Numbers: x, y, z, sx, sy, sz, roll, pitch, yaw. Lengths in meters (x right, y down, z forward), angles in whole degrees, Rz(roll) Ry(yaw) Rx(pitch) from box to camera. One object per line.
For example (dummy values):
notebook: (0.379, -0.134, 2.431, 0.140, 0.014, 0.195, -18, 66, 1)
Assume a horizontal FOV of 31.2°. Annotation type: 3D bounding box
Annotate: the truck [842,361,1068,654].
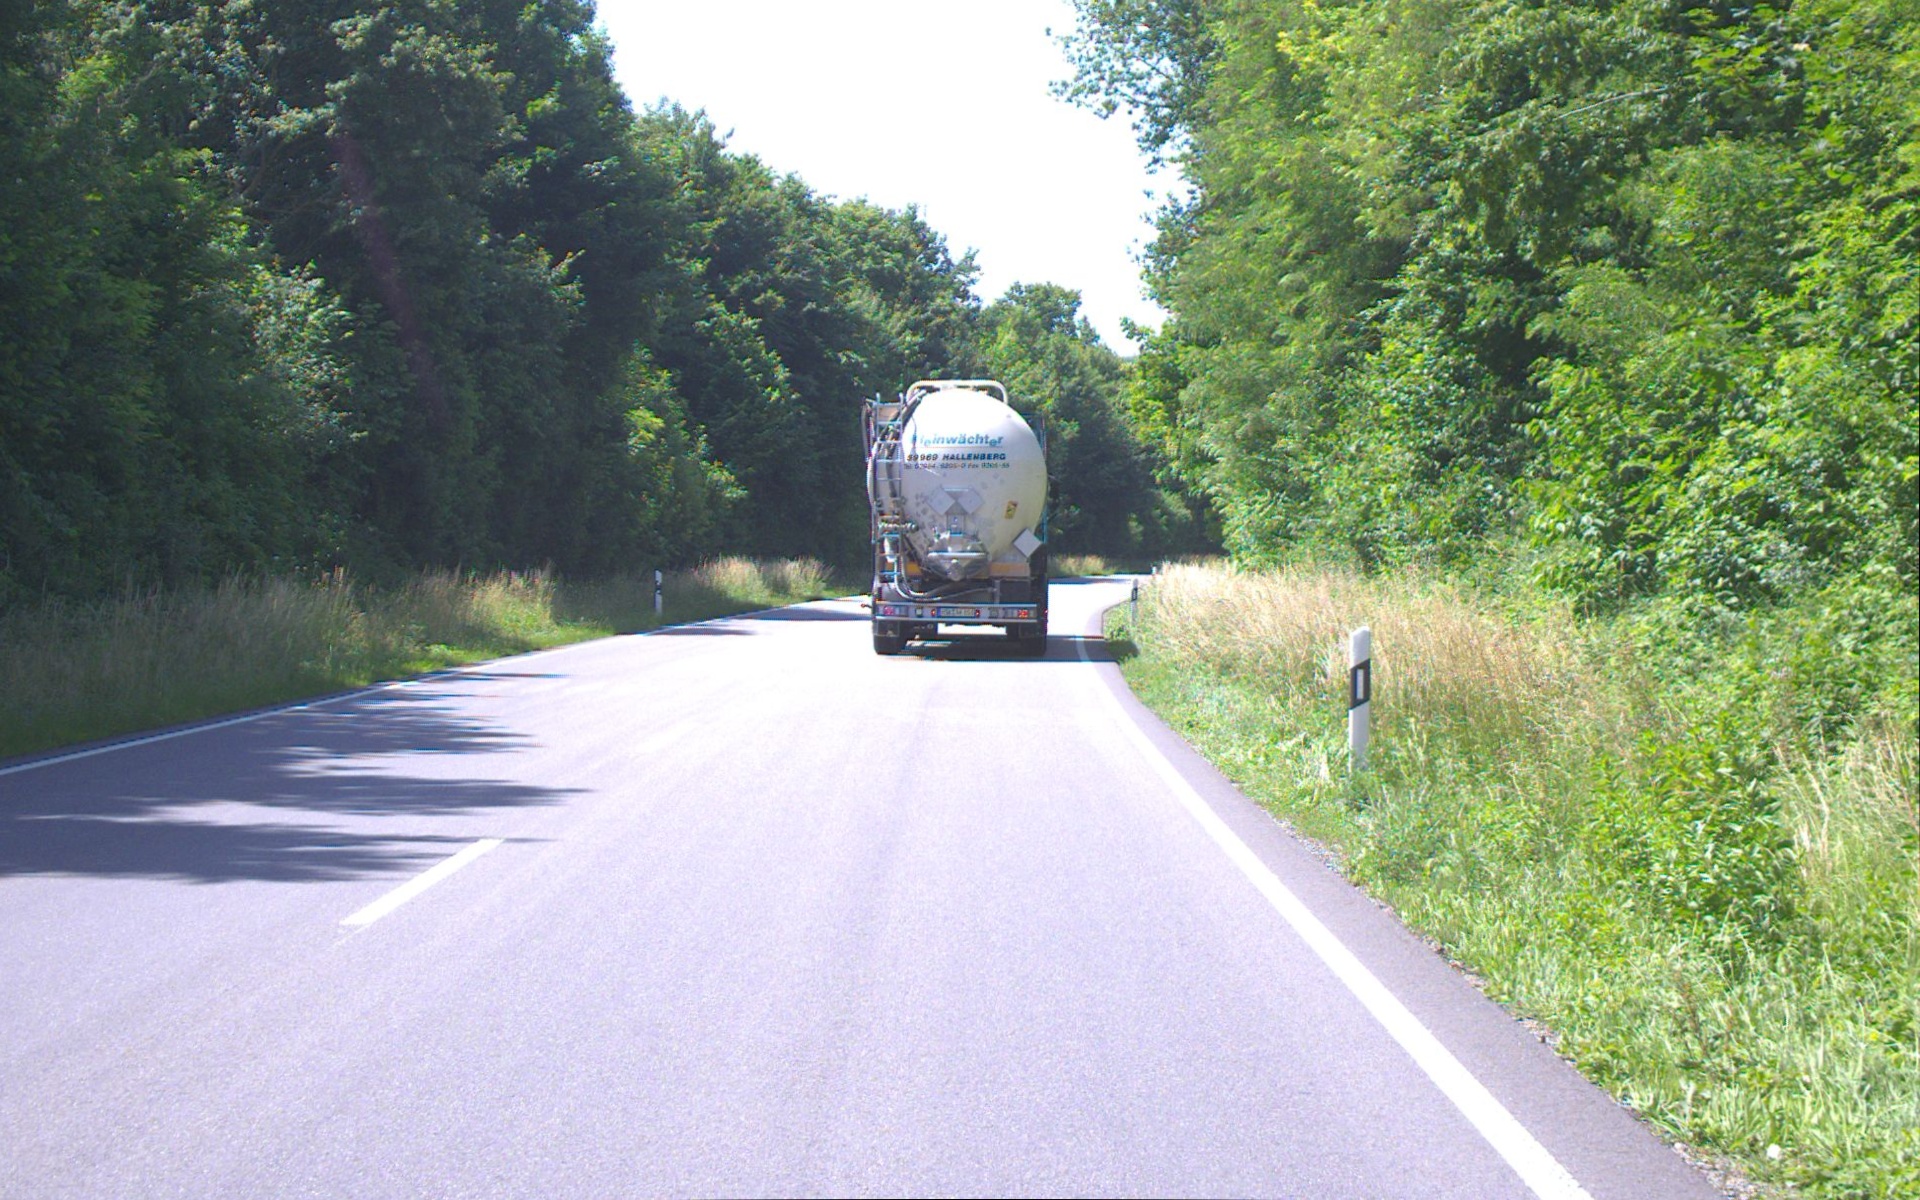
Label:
truck: (-0.154, -1.414, 55.098, 3.049, 3.984, 15.637, 1, 1, -1)
